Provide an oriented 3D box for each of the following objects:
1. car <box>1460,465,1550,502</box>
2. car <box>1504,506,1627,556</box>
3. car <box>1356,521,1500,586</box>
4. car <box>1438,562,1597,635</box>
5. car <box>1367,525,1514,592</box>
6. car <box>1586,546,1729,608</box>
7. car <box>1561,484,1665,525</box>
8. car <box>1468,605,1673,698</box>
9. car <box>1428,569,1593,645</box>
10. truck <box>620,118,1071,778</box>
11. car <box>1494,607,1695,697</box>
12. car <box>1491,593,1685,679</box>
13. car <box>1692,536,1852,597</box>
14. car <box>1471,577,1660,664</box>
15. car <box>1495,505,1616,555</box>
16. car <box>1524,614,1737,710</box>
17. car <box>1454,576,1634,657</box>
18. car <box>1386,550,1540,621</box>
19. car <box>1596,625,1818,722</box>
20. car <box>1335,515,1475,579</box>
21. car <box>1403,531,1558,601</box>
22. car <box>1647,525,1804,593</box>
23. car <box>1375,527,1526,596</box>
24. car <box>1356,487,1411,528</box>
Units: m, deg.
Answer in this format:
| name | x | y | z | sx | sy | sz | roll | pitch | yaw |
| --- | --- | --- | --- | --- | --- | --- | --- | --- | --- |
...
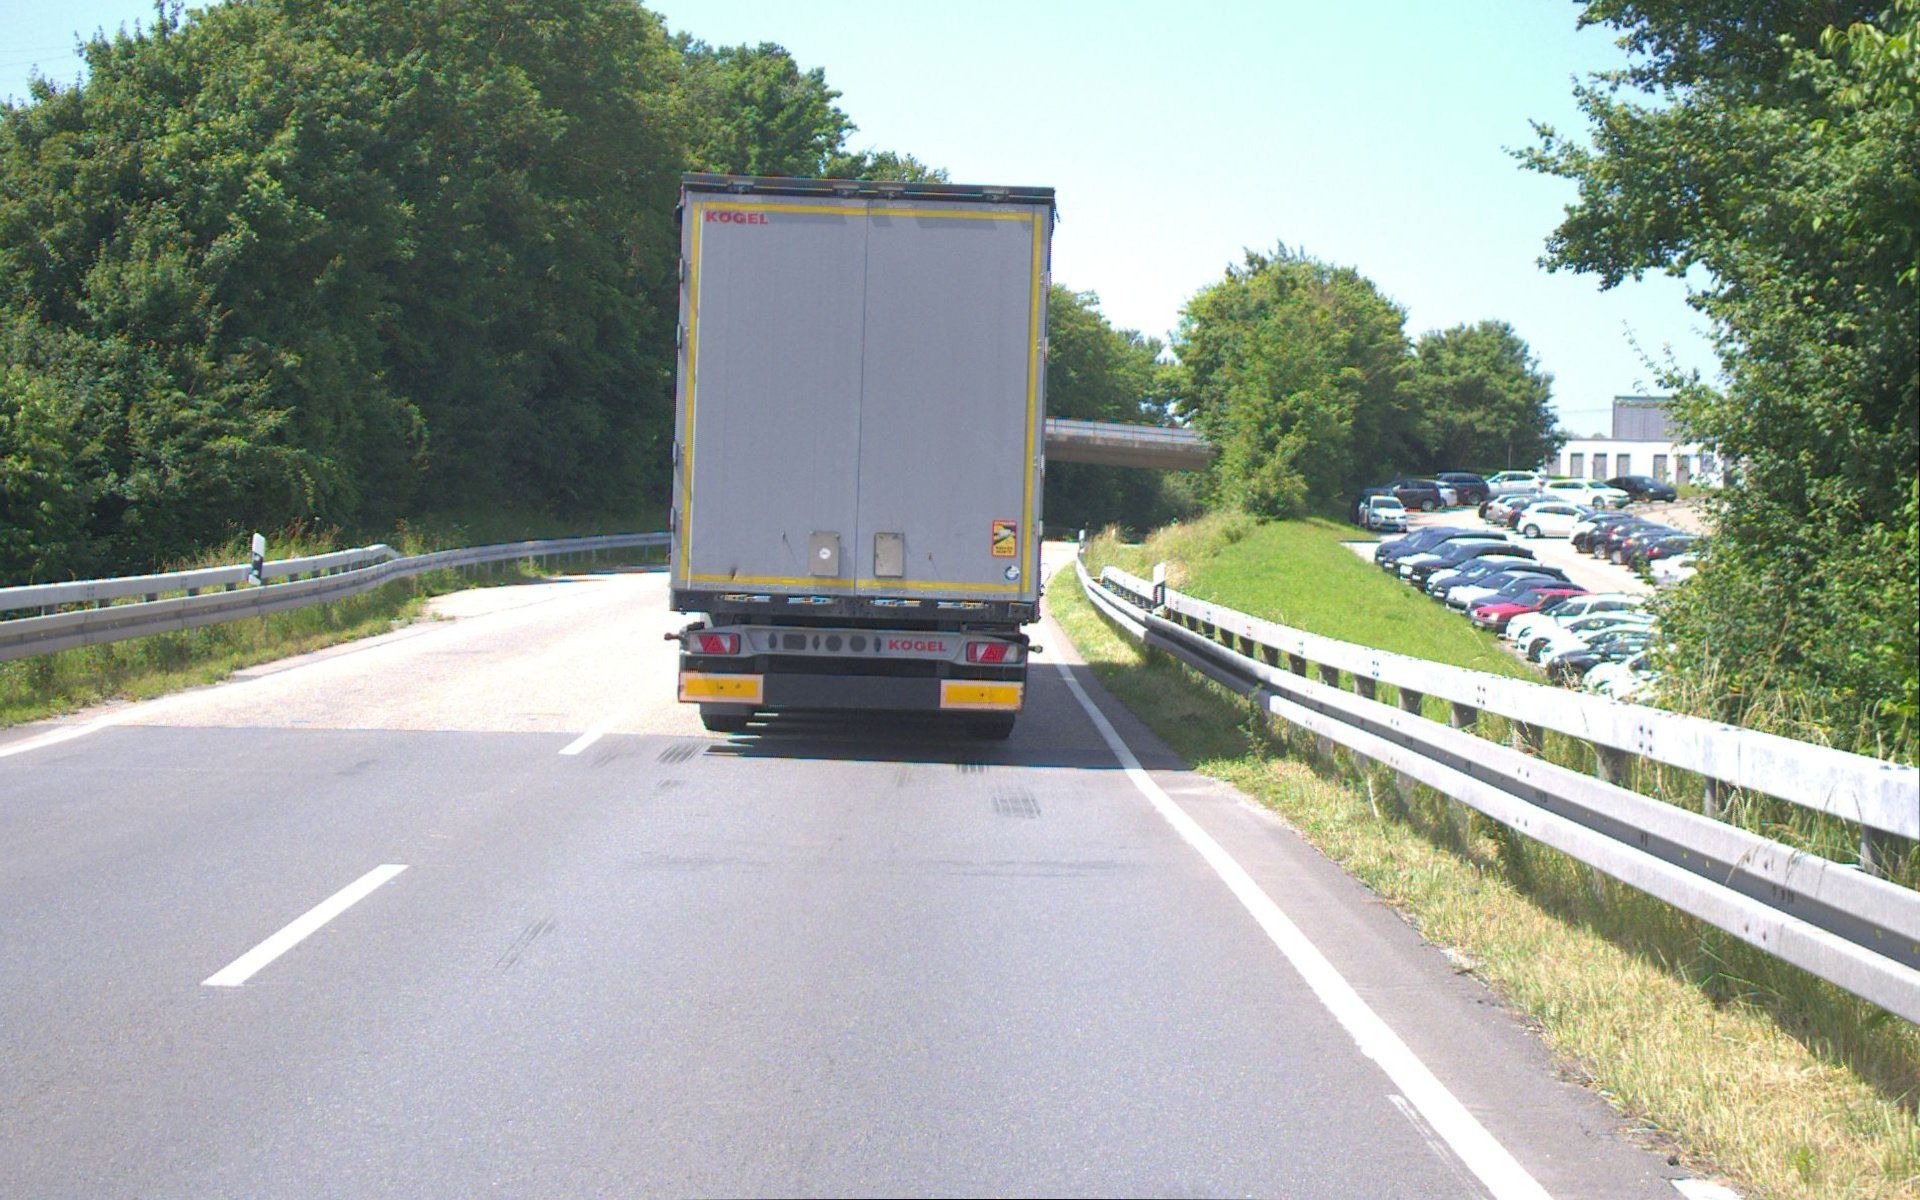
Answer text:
| name | x | y | z | sx | sy | sz | roll | pitch | yaw |
| --- | --- | --- | --- | --- | --- | --- | --- | --- | --- |
| car | 29.126 | -6.241 | 183.765 | 4.362 | 1.679 | 1.889 | 1 | 6 | -26 |
| car | 24.876 | -2.834 | 141.158 | 4.578 | 1.623 | 1.818 | 6 | 3 | 23 |
| car | 15.984 | -1.588 | 117.409 | 4.362 | 1.679 | 1.889 | 5 | 5 | -27 |
| car | 16.391 | -0.044 | 101.037 | 4.363 | 1.679 | 1.889 | 4 | 5 | -35 |
| car | 16.006 | -1.391 | 114.499 | 4.362 | 1.679 | 1.889 | 5 | 5 | -27 |
| car | 25.252 | -0.838 | 124.461 | 4.580 | 1.623 | 1.818 | 9 | 5 | 28 |
| car | 32.055 | -4.695 | 168.798 | 4.582 | 1.623 | 1.816 | 6 | 2 | 37 |
| car | 14.718 | 1.213 | 82.903 | 4.370 | 1.553 | 1.885 | 9 | 5 | 26 |
| car | 15.656 | 0.215 | 97.638 | 4.363 | 1.679 | 1.889 | 4 | 5 | -35 |
| truck | -0.833 | -1.192 | 28.197 | 2.866 | 4.344 | 9.790 | 3 | 2 | -1 |
| car | 15.682 | 1.270 | 84.996 | 4.370 | 1.553 | 1.885 | 9 | 5 | 26 |
| car | 16.111 | 0.894 | 88.284 | 4.372 | 1.553 | 1.885 | 9 | 5 | 31 |
| car | 26.038 | -1.087 | 110.268 | 4.581 | 1.514 | 1.817 | 5 | 7 | 32 |
| car | 16.148 | 0.526 | 91.679 | 4.452 | 1.679 | 1.886 | 9 | 4 | 23 |
| car | 24.873 | -2.937 | 143.651 | 4.578 | 1.623 | 1.818 | 6 | 4 | 23 |
| car | 15.582 | 1.417 | 79.958 | 4.370 | 1.553 | 1.859 | 9 | 5 | 26 |
| car | 16.171 | 0.452 | 95.177 | 4.361 | 1.679 | 1.889 | 5 | 4 | -20 |
| car | 15.320 | -0.437 | 104.707 | 4.363 | 1.679 | 1.889 | 4 | 5 | -35 |
| car | 16.629 | 1.614 | 76.550 | 4.370 | 1.451 | 1.816 | 9 | 5 | 26 |
| car | 15.560 | -1.843 | 120.247 | 4.362 | 1.679 | 1.889 | 5 | 5 | -27 |
| car | 16.363 | -1.066 | 108.102 | 4.362 | 1.679 | 1.889 | 5 | 5 | -27 |
| car | 25.349 | -1.358 | 113.843 | 4.580 | 1.623 | 1.818 | 9 | 5 | 28 |
| car | 15.904 | -1.236 | 111.411 | 4.362 | 1.679 | 1.889 | 5 | 5 | -27 |
| car | 17.954 | -3.945 | 145.926 | 1.624 | 1.348 | 3.712 | 7 | 4 | -2 |
